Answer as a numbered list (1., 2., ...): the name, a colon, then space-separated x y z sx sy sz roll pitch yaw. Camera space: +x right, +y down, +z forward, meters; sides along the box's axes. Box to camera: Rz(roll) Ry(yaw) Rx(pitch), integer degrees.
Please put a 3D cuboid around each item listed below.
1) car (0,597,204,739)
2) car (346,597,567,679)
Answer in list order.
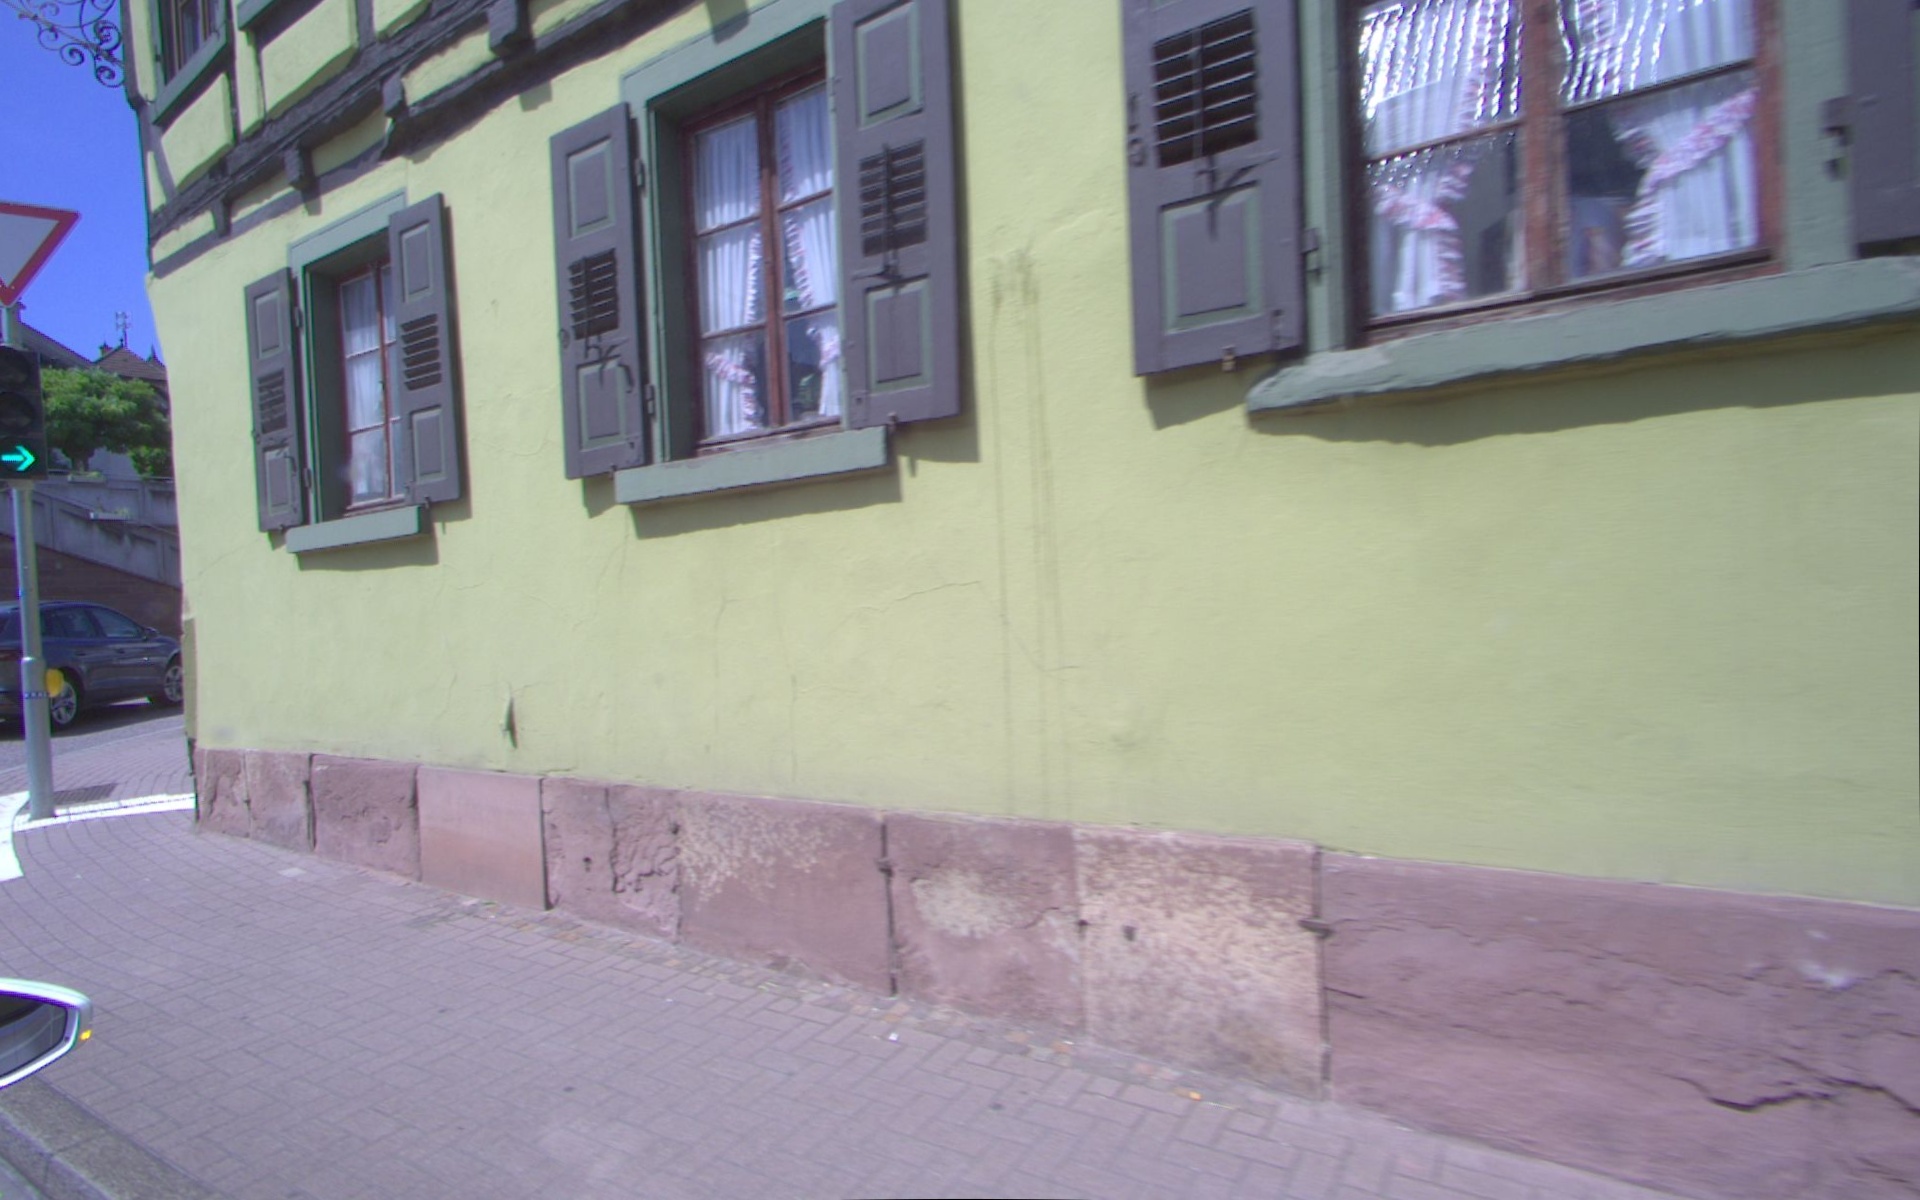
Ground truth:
1. car: -12.348 0.779 13.422 1.920 1.603 4.319 0 1 -13
2. car: -10.155 0.721 20.516 1.758 1.477 3.854 -1 0 20
